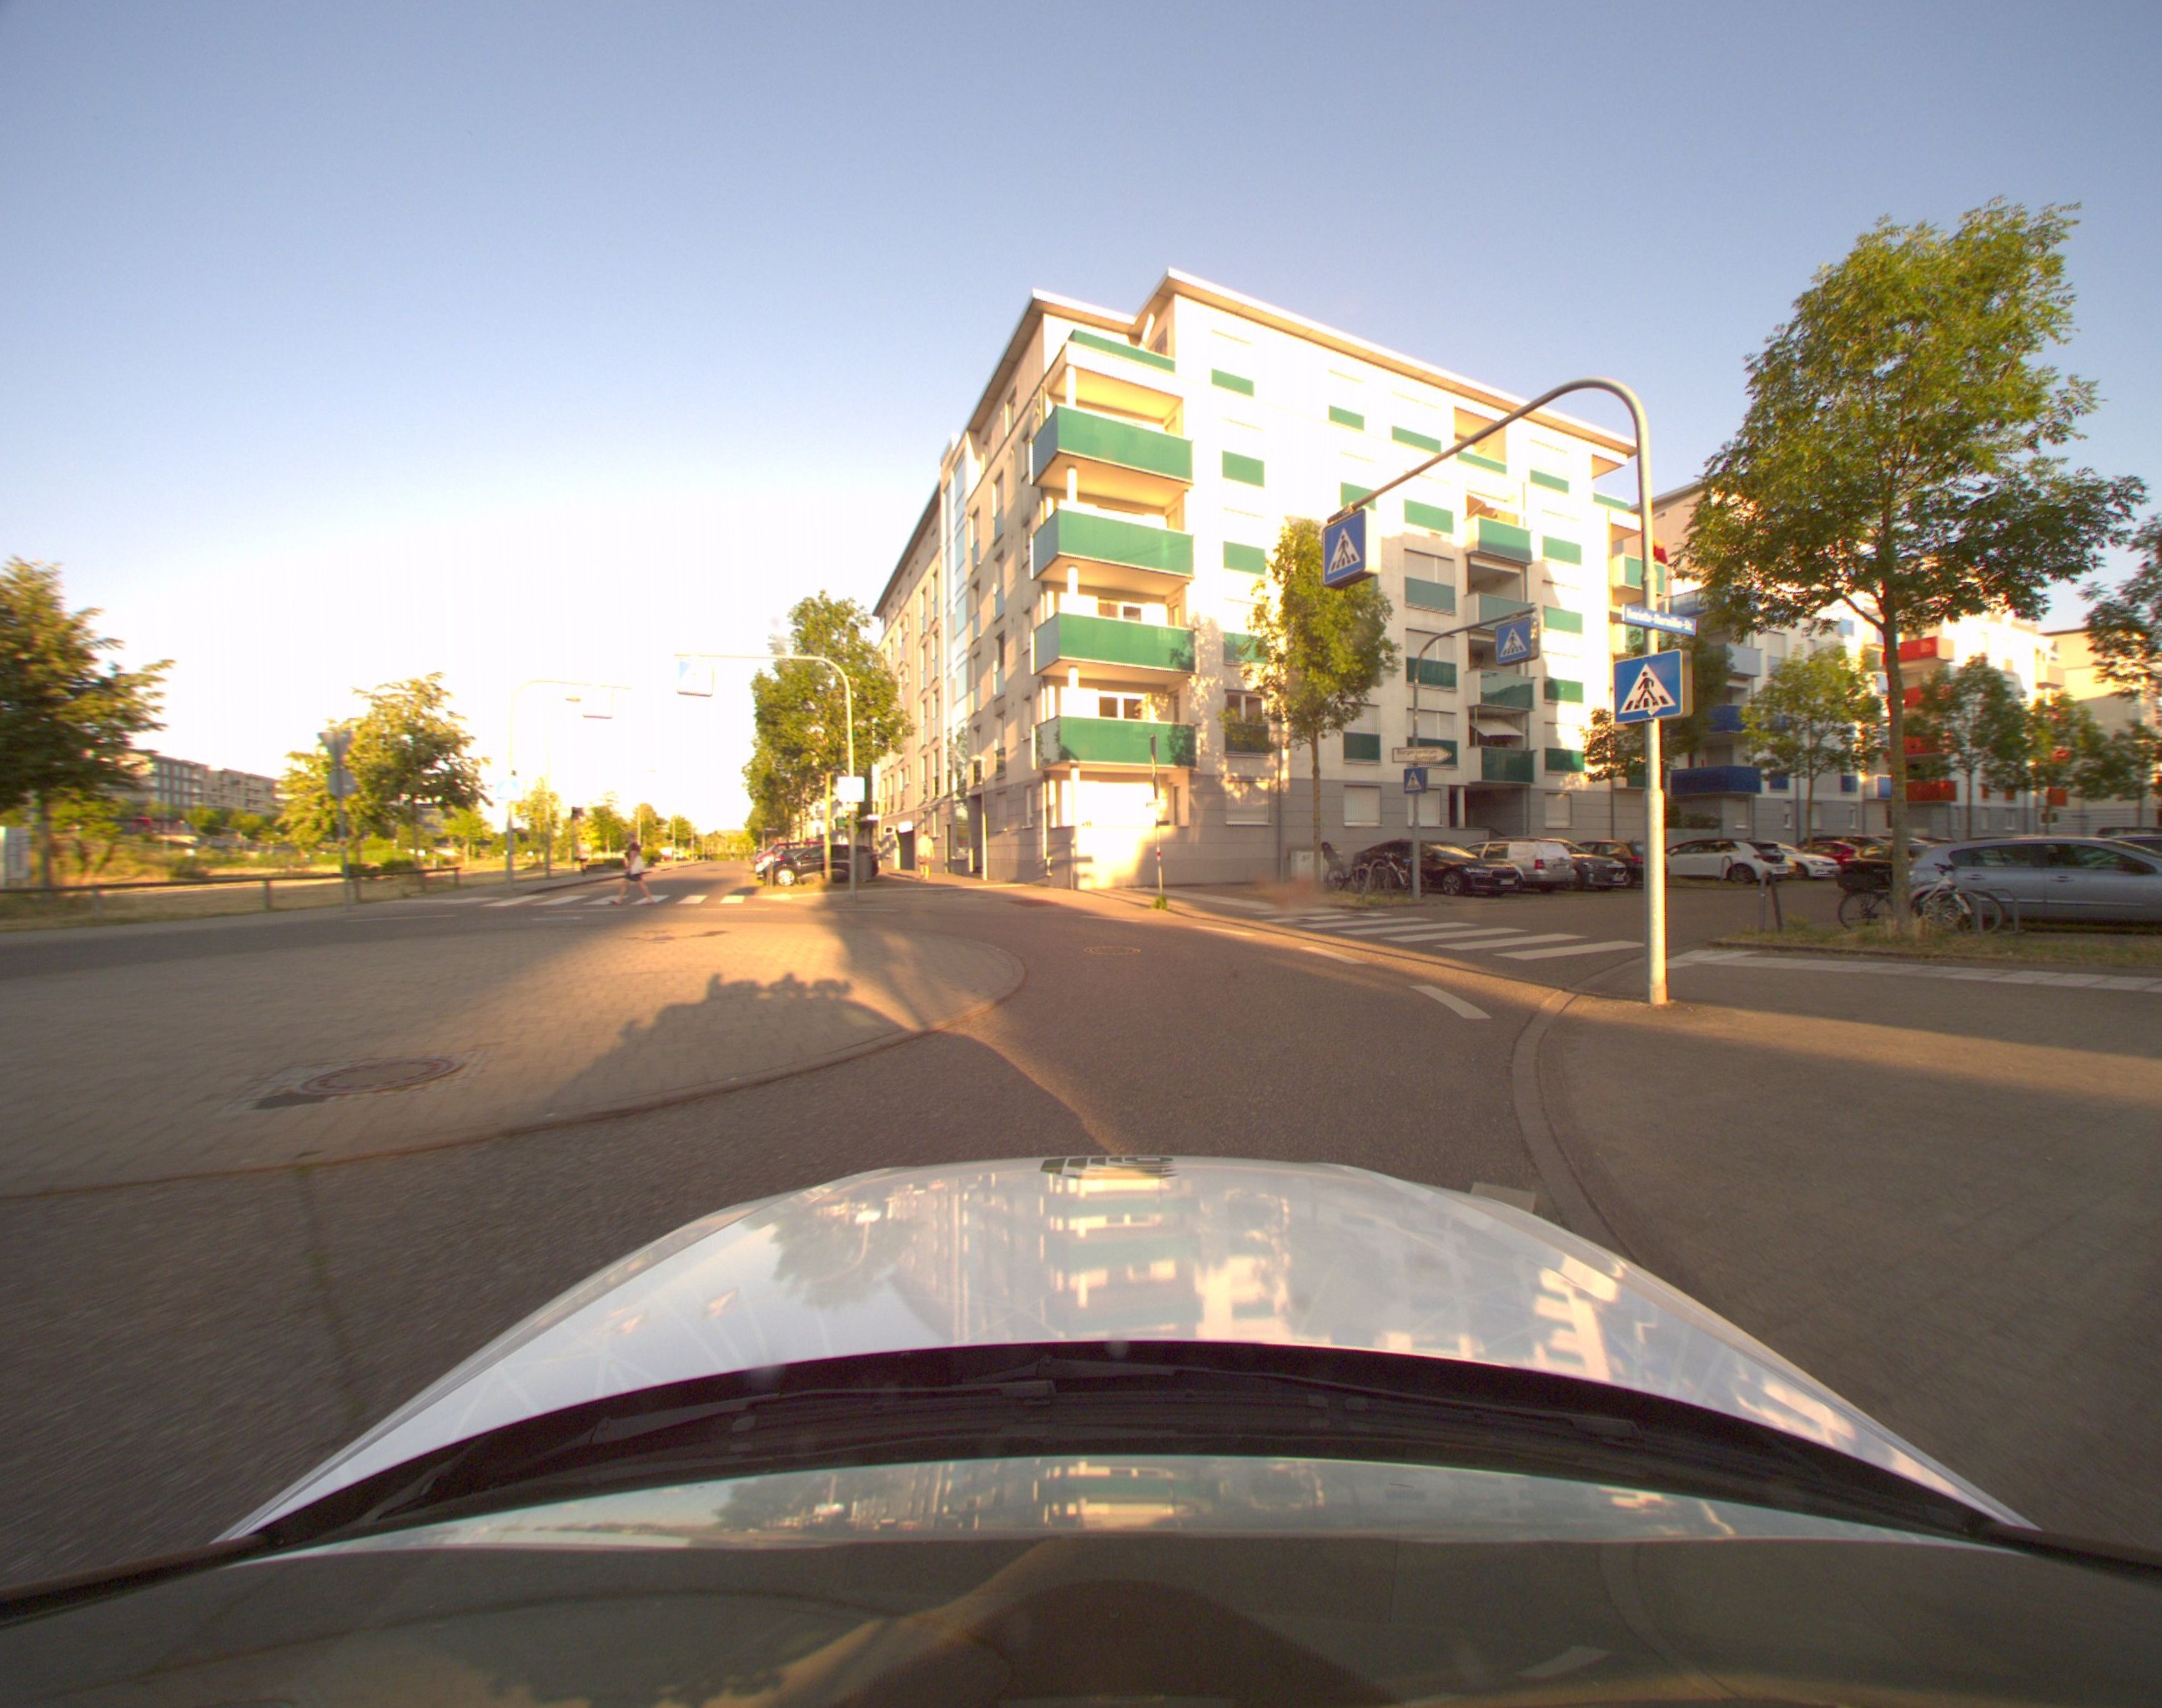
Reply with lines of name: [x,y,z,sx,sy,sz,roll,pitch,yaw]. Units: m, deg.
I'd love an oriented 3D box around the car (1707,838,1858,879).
car: [25.871,0.107,30.165,1.729,1.344,3.885,-1,2,-29]

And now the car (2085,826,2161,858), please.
car: [61.525,-0.705,46.957,1.695,1.778,4.222,0,2,-24]

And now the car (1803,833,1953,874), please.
car: [32.524,-0.082,33.344,1.671,1.508,4.067,-1,2,-29]

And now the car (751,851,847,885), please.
car: [-13.021,0.634,37.627,4.062,1.480,1.688,0,-1,-24]

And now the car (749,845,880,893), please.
car: [-9.981,0.522,30.569,4.485,1.487,1.820,-3,1,-22]

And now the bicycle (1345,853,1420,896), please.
bicycle: [7.991,0.521,21.687,0.475,1.046,2.017,0,2,-29]

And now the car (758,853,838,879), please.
car: [-17.072,0.700,49.186,4.473,1.521,1.688,0,-1,-24]

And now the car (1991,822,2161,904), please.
car: [21.718,0.160,16.054,1.763,1.585,4.717,0,-2,-29]

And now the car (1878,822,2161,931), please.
car: [14.991,0.358,11.999,1.684,1.458,4.255,0,-5,-27]

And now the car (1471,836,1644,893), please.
car: [14.311,0.250,24.737,1.746,1.493,4.261,0,2,-26]

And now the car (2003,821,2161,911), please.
car: [19.624,0.174,13.944,1.712,1.555,4.754,-1,-2,-21]

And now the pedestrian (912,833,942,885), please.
pedestrian: [-5.754,0.172,30.445,0.979,1.894,1.043,0,-1,-18]

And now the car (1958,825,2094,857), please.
car: [48.374,-0.690,41.795,1.695,1.536,4.222,0,2,-24]

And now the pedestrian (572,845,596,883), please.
pedestrian: [-22.605,0.442,37.069,0.767,1.730,0.797,0,-1,-18]

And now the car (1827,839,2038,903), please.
car: [22.781,0.387,22.059,1.762,1.462,4.190,1,2,9]

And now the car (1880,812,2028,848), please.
car: [39.001,-1.115,36.517,1.757,1.508,4.215,-1,2,-29]

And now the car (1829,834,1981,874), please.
car: [34.937,-0.042,34.675,1.757,1.508,4.215,-1,2,-29]

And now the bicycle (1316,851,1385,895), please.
bicycle: [7.006,0.484,21.259,0.569,1.041,1.777,0,2,-29]

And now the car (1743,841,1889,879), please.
car: [29.752,0.200,33.097,1.671,1.361,4.067,-1,2,-29]

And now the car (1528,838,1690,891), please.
car: [16.901,0.266,26.340,1.741,1.457,4.274,0,2,-16]

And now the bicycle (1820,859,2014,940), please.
bicycle: [11.969,0.657,11.738,0.568,1.067,1.806,0,-4,-27]

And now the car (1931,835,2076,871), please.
car: [43.676,-0.106,38.665,1.695,1.536,4.222,0,2,-24]

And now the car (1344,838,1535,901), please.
car: [9.722,0.335,22.592,1.940,1.457,4.854,0,2,-23]

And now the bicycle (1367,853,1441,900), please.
bicycle: [8.078,0.534,20.466,0.475,1.072,1.823,0,2,-29]

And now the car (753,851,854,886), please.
car: [-12.064,0.609,35.438,4.062,1.480,1.688,0,-1,-24]

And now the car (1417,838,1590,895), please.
car: [12.120,0.359,23.715,1.744,1.508,4.383,0,-1,-22]

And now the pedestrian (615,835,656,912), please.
pedestrian: [-10.584,0.450,19.375,0.803,1.784,0.728,0,-1,-24]

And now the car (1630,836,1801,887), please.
car: [21.416,0.174,27.689,1.690,1.507,4.258,0,2,-28]

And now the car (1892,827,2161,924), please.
car: [17.017,0.349,13.397,1.714,1.478,4.874,0,-2,-27]

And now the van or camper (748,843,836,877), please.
van or camper: [-18.374,0.384,51.738,5.139,2.060,1.862,0,-1,-25]
